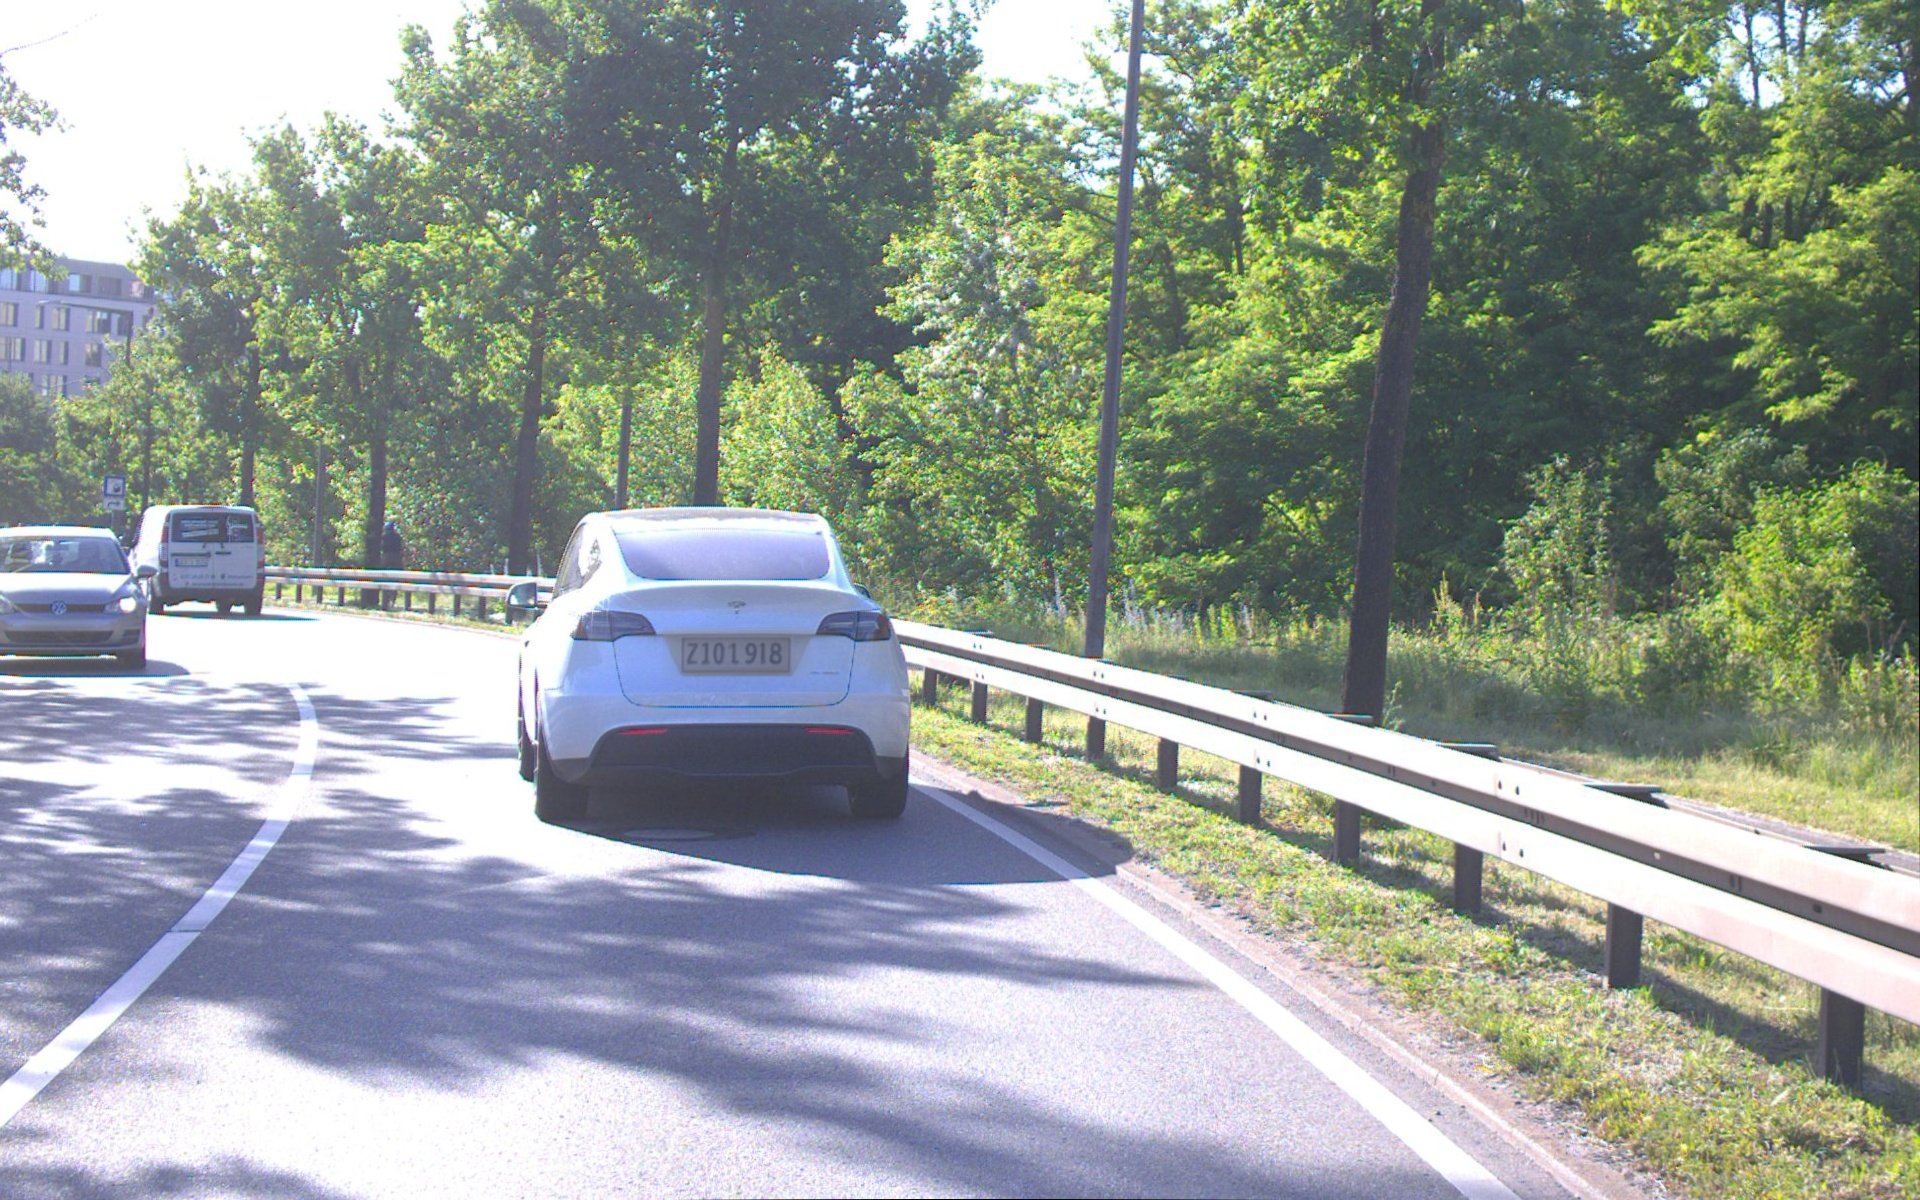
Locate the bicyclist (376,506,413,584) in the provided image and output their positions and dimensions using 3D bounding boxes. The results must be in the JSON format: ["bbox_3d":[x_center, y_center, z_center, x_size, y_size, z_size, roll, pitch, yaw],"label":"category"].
[{"bbox_3d":[-11.614,-1.117,70.583,0.707,1.573,1.005,1,0,-9],"label":"bicyclist"}]

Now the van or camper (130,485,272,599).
[{"bbox_3d":[-13.339,-1.025,60.240,1.958,1.877,4.881,1,1,-18],"label":"van or camper"}]

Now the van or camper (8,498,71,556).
[{"bbox_3d":[-32.704,-2.620,122.087,1.825,1.785,4.547,4,2,-18],"label":"van or camper"}]

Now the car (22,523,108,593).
[{"bbox_3d":[-19.919,-0.934,76.457,1.603,1.430,3.679,3,0,-17],"label":"car"}]

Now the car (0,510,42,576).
[{"bbox_3d":[-27.446,-1.667,98.491,1.909,1.796,4.130,3,1,-12],"label":"car"}]

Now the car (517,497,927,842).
[{"bbox_3d":[-1.429,0.303,18.844,1.913,1.635,4.411,1,1,-8],"label":"car"}]

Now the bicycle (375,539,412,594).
[{"bbox_3d":[-11.628,-0.675,70.600,0.700,1.071,1.921,1,-1,-8],"label":"bicycle"}]

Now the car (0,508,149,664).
[{"bbox_3d":[-9.380,-0.175,35.845,1.694,1.513,3.982,1,1,-14],"label":"car"}]
